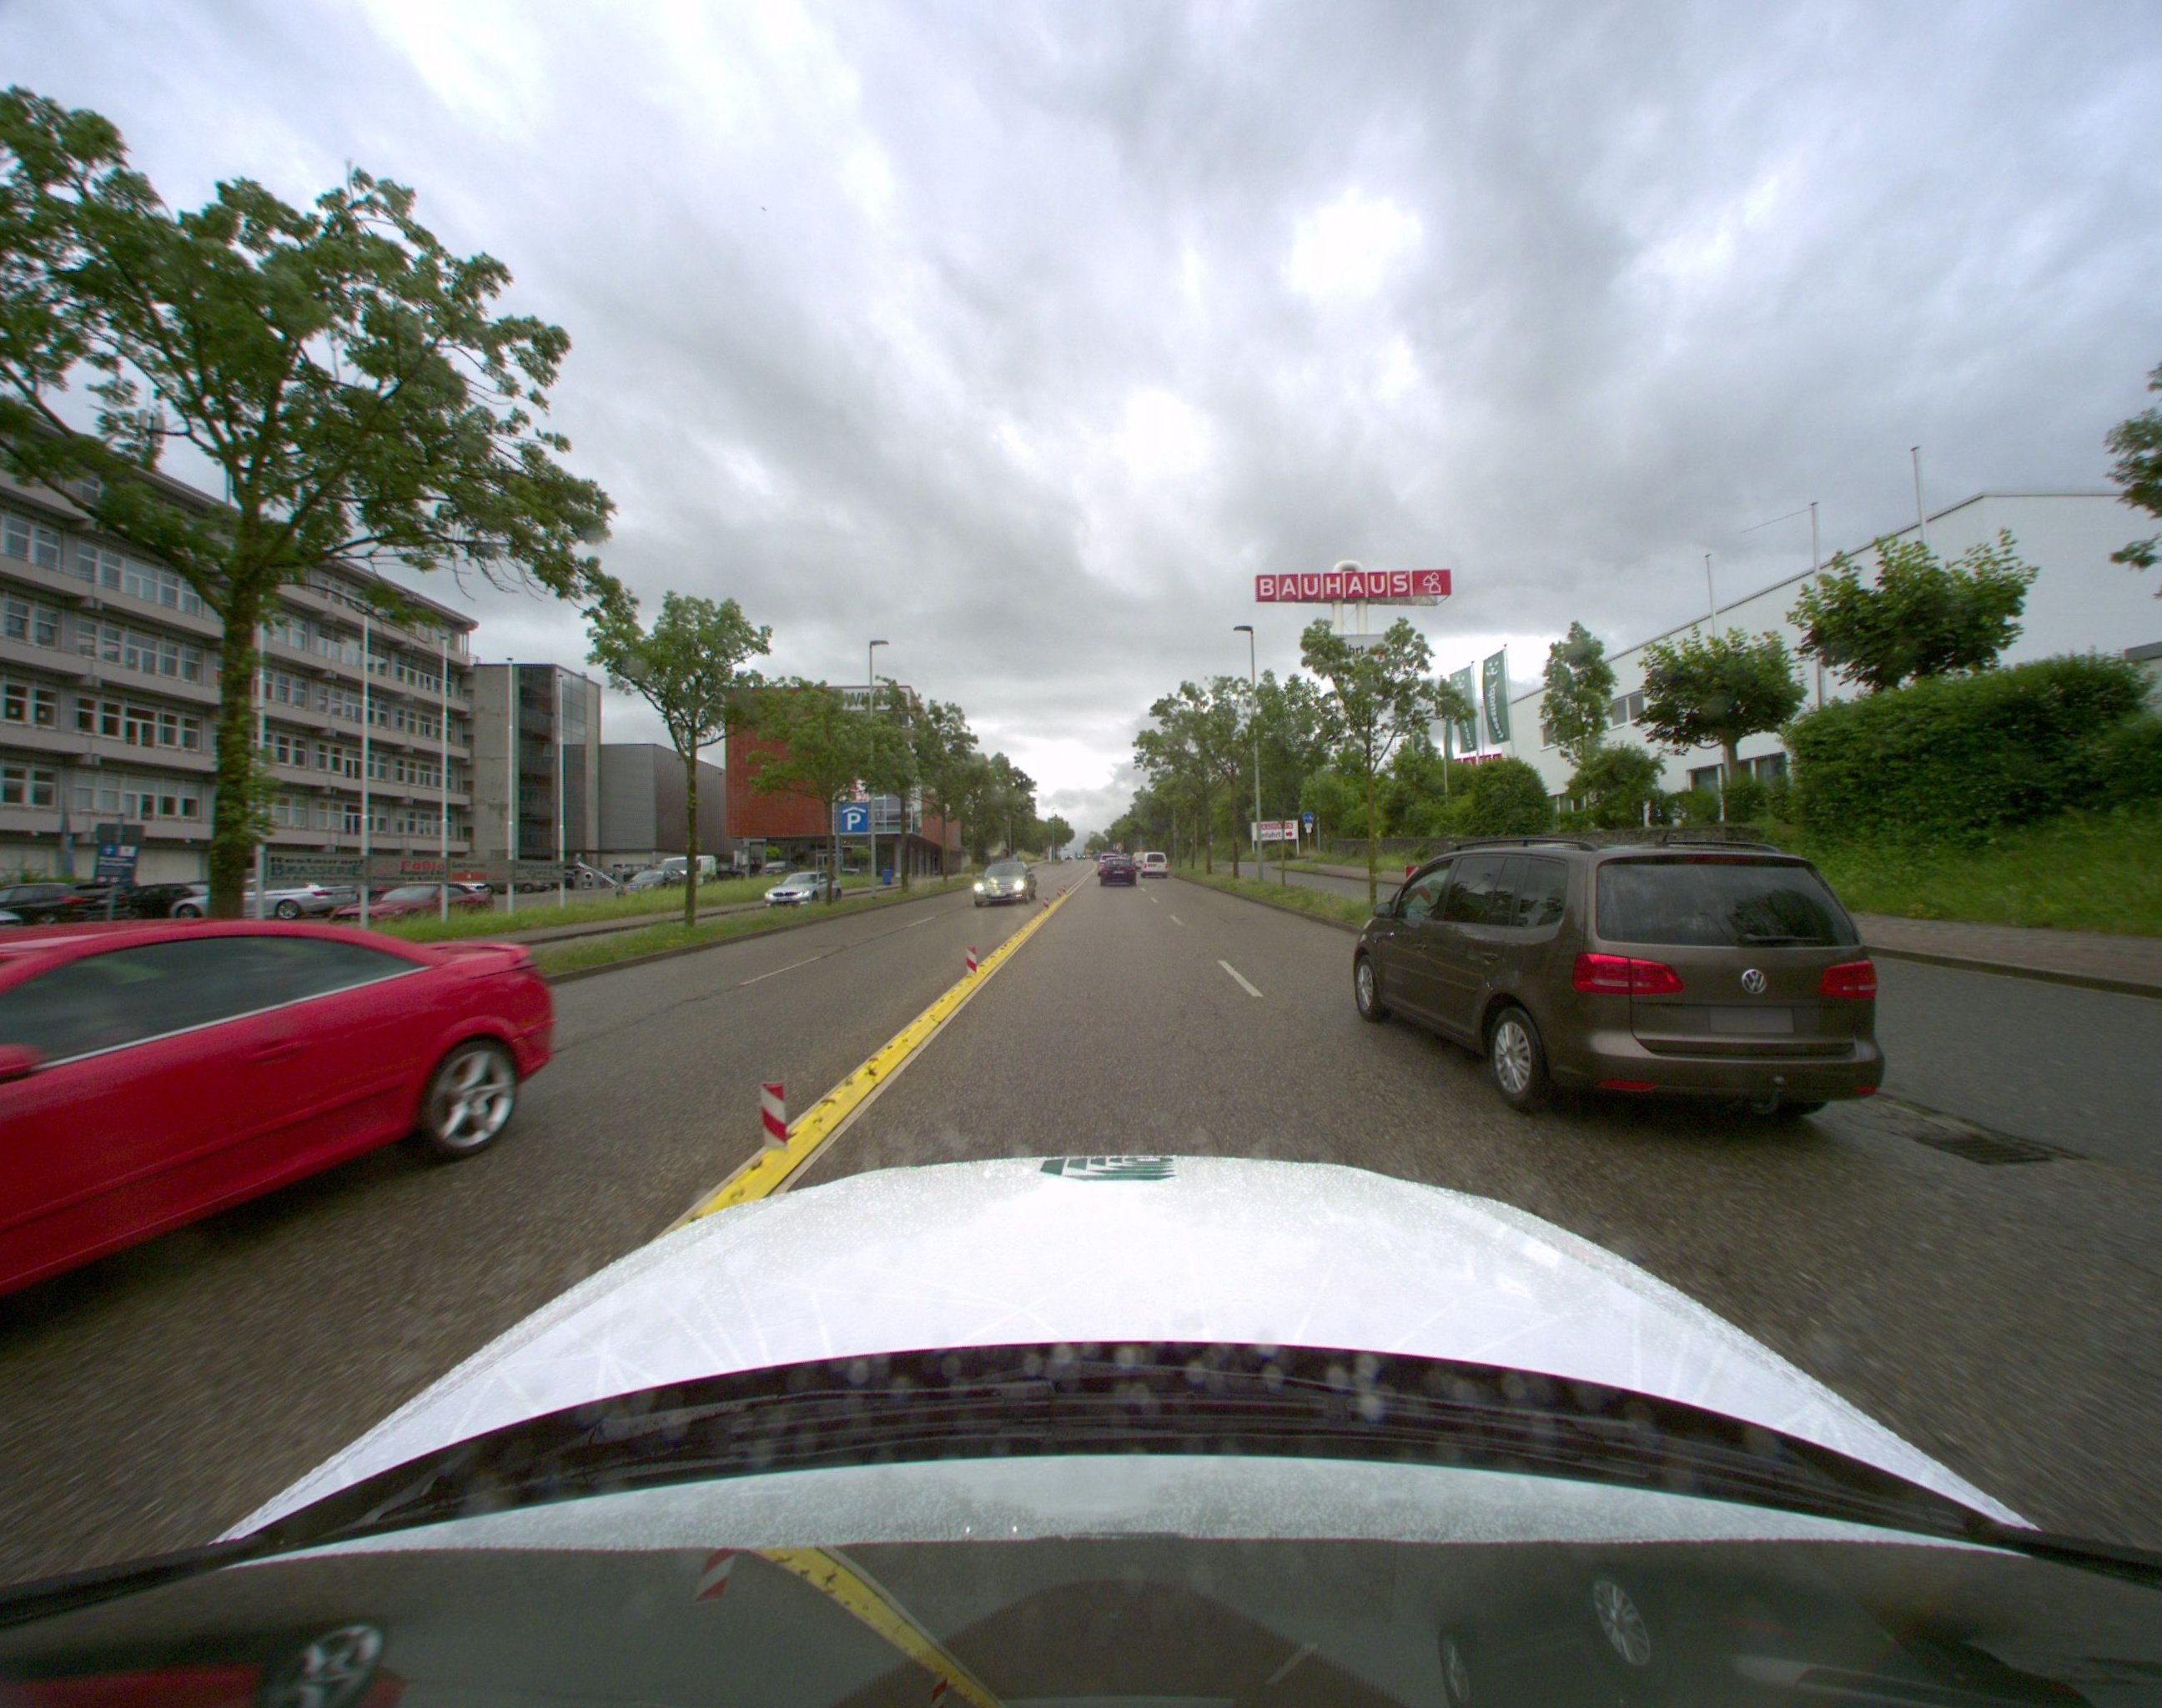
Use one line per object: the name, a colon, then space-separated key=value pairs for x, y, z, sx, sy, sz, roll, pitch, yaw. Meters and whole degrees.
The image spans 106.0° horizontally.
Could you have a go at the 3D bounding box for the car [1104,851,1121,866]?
car: x=3.304 y=0.452 z=85.608 sx=1.787 sy=1.510 sz=4.001 roll=1 pitch=-1 yaw=1

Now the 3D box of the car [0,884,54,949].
car: x=-32.855 y=1.818 z=22.992 sx=4.599 sy=1.745 sz=1.960 roll=0 pitch=1 yaw=-11

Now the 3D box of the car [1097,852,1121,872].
car: x=2.157 y=0.626 z=62.629 sx=1.787 sy=1.510 sz=4.001 roll=1 pitch=-1 yaw=1

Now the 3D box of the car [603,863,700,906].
car: x=-20.016 y=1.365 z=38.250 sx=2.034 sy=1.762 sz=4.943 roll=0 pitch=1 yaw=-2

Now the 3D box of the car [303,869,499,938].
car: x=-19.496 y=1.344 z=23.705 sx=1.929 sy=1.608 sz=4.706 roll=0 pitch=1 yaw=-4

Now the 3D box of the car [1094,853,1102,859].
car: x=3.807 y=0.480 z=186.691 sx=1.788 sy=1.510 sz=3.999 roll=1 pitch=-1 yaw=0

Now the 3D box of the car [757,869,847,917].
car: x=-11.013 y=1.492 z=32.491 sx=1.860 sy=1.553 sz=4.576 roll=-4 pitch=0 yaw=1

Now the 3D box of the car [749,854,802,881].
car: x=-22.044 y=0.907 z=58.961 sx=2.131 sy=1.773 sz=4.607 roll=0 pitch=1 yaw=-1

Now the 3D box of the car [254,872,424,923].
car: x=-28.460 y=1.635 z=31.377 sx=4.495 sy=1.745 sz=1.896 roll=0 pitch=1 yaw=-7

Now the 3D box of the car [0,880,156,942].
car: x=-33.305 y=1.790 z=25.989 sx=4.599 sy=1.745 sz=2.126 roll=0 pitch=1 yaw=-10

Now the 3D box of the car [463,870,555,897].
car: x=-35.714 y=1.818 z=50.958 sx=4.271 sy=1.510 sz=1.843 roll=0 pitch=1 yaw=-7

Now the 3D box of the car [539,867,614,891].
car: x=-35.576 y=1.749 z=57.511 sx=4.105 sy=1.510 sz=1.815 roll=0 pitch=1 yaw=-7

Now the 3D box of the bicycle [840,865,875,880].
bicycle: x=-15.650 y=1.315 z=57.104 sx=2.067 sy=0.935 sz=1.095 roll=3 pitch=-1 yaw=5

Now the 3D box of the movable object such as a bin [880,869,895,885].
movable object such as a bin: x=-13.798 y=1.610 z=58.081 sx=0.816 sy=1.079 sz=1.086 roll=1 pitch=0 yaw=2

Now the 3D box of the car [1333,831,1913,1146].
car: x=3.378 y=0.684 z=6.212 sx=1.679 sy=1.581 sz=4.219 roll=0 pitch=0 yaw=1

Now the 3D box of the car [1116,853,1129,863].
car: x=6.787 y=0.686 z=132.756 sx=1.789 sy=1.510 sz=3.997 roll=1 pitch=-1 yaw=-2

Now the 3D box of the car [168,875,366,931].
car: x=-28.329 y=1.671 z=28.486 sx=4.594 sy=1.745 sz=1.963 roll=0 pitch=1 yaw=-7

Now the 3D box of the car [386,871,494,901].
car: x=-35.191 y=1.745 z=44.820 sx=4.271 sy=1.510 sz=1.843 roll=0 pitch=1 yaw=-7

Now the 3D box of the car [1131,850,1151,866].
car: x=5.977 y=0.436 z=81.287 sx=1.788 sy=1.510 sz=4.000 roll=1 pitch=-1 yaw=0

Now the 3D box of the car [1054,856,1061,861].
car: x=-6.574 y=1.317 z=228.382 sx=1.789 sy=1.510 sz=3.997 roll=1 pitch=-1 yaw=-2

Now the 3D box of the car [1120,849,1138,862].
car: x=5.592 y=0.191 z=94.843 sx=1.789 sy=1.510 sz=3.997 roll=1 pitch=-1 yaw=-2

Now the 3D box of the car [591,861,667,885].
car: x=-30.976 y=1.310 z=55.878 sx=4.105 sy=1.510 sz=1.815 roll=0 pitch=1 yaw=-7

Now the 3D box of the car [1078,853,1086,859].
car: x=0.278 y=0.515 z=213.421 sx=1.789 sy=1.510 sz=3.997 roll=1 pitch=-1 yaw=-2

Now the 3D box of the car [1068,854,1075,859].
car: x=-2.703 y=0.669 z=226.539 sx=1.789 sy=1.510 sz=3.997 roll=1 pitch=-1 yaw=-2

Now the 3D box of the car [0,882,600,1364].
car: x=-4.268 y=0.949 z=3.380 sx=1.754 sy=1.425 sz=4.185 roll=-3 pitch=0 yaw=4

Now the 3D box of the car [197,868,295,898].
car: x=-51.891 y=1.756 z=50.675 sx=3.981 sy=1.732 sz=1.797 roll=0 pitch=1 yaw=-6

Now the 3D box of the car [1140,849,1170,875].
car: x=5.191 y=0.543 z=57.833 sx=1.821 sy=1.759 sz=4.000 roll=0 pitch=0 yaw=1

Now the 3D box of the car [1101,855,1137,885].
car: x=1.978 y=0.811 z=42.703 sx=1.820 sy=1.468 sz=4.002 roll=0 pitch=0 yaw=2

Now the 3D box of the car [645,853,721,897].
car: x=-21.356 y=1.061 z=43.936 sx=2.112 sy=2.096 sz=5.109 roll=0 pitch=1 yaw=-7

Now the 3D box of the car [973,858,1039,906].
car: x=-2.520 y=0.902 z=28.361 sx=1.660 sy=1.410 sz=4.380 roll=-3 pitch=0 yaw=2
